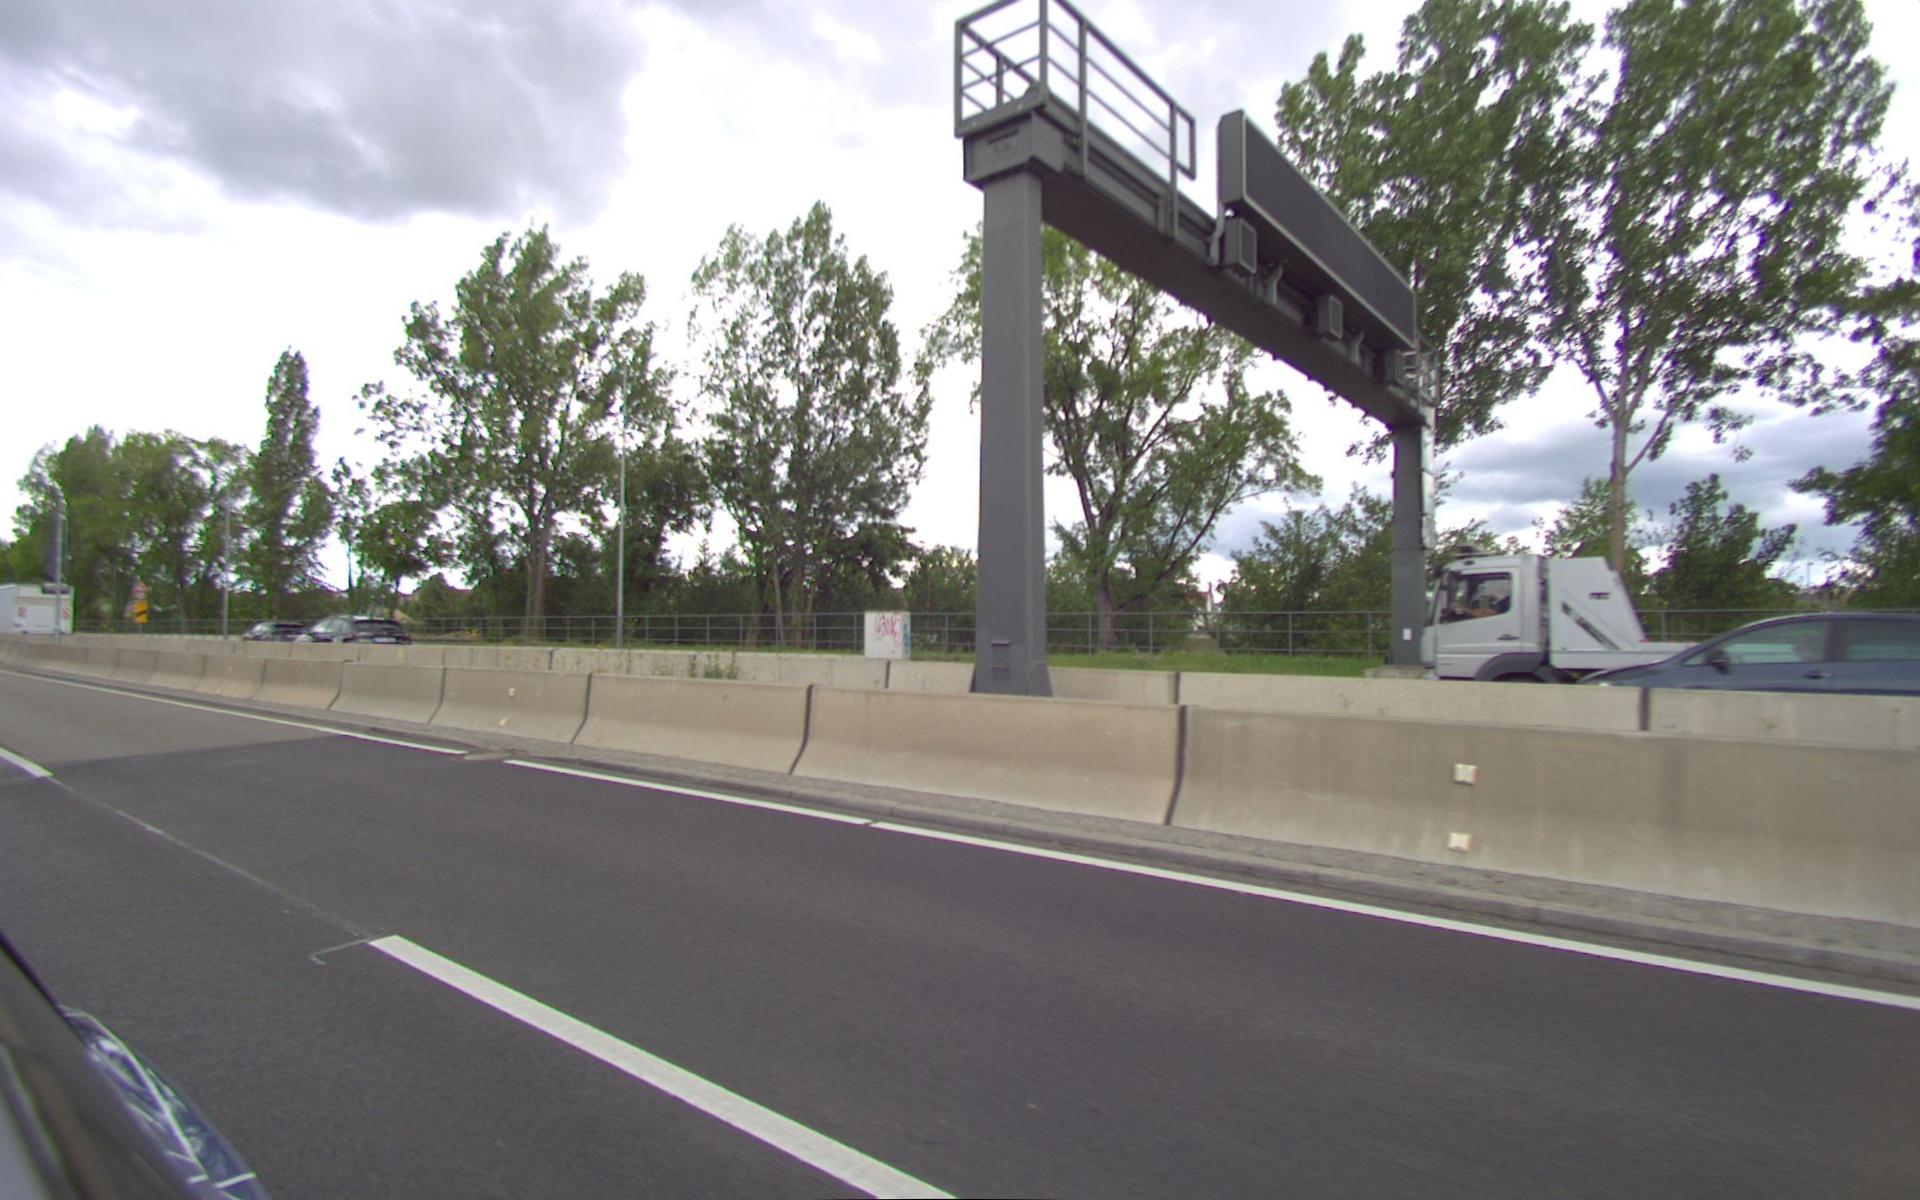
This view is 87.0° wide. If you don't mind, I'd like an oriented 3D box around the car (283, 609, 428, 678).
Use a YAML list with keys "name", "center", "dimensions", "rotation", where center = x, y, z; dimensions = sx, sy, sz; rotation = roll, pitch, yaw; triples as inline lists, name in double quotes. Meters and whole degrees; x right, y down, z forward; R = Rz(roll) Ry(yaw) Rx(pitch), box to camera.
- name: "car"
  center: [-16.021, 1.102, 26.723]
  dimensions: [4.451, 1.630, 1.907]
  rotation: [-2, 0, 40]

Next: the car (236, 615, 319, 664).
- name: "car"
  center: [-30.446, 1.722, 45.087]
  dimensions: [3.996, 2.029, 1.974]
  rotation: [-2, 0, 39]

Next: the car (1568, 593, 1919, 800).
- name: "car"
  center: [8.861, 0.907, 10.534]
  dimensions: [4.097, 1.891, 1.798]
  rotation: [-2, 0, 40]

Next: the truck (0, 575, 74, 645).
- name: "truck"
  center: [-45.070, 0.496, 48.730]
  dimensions: [7.193, 3.130, 2.381]
  rotation: [-2, 0, 39]

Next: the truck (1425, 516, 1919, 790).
- name: "truck"
  center: [13.900, 0.527, 10.982]
  dimensions: [15.866, 3.130, 2.826]
  rotation: [-2, 0, 39]
